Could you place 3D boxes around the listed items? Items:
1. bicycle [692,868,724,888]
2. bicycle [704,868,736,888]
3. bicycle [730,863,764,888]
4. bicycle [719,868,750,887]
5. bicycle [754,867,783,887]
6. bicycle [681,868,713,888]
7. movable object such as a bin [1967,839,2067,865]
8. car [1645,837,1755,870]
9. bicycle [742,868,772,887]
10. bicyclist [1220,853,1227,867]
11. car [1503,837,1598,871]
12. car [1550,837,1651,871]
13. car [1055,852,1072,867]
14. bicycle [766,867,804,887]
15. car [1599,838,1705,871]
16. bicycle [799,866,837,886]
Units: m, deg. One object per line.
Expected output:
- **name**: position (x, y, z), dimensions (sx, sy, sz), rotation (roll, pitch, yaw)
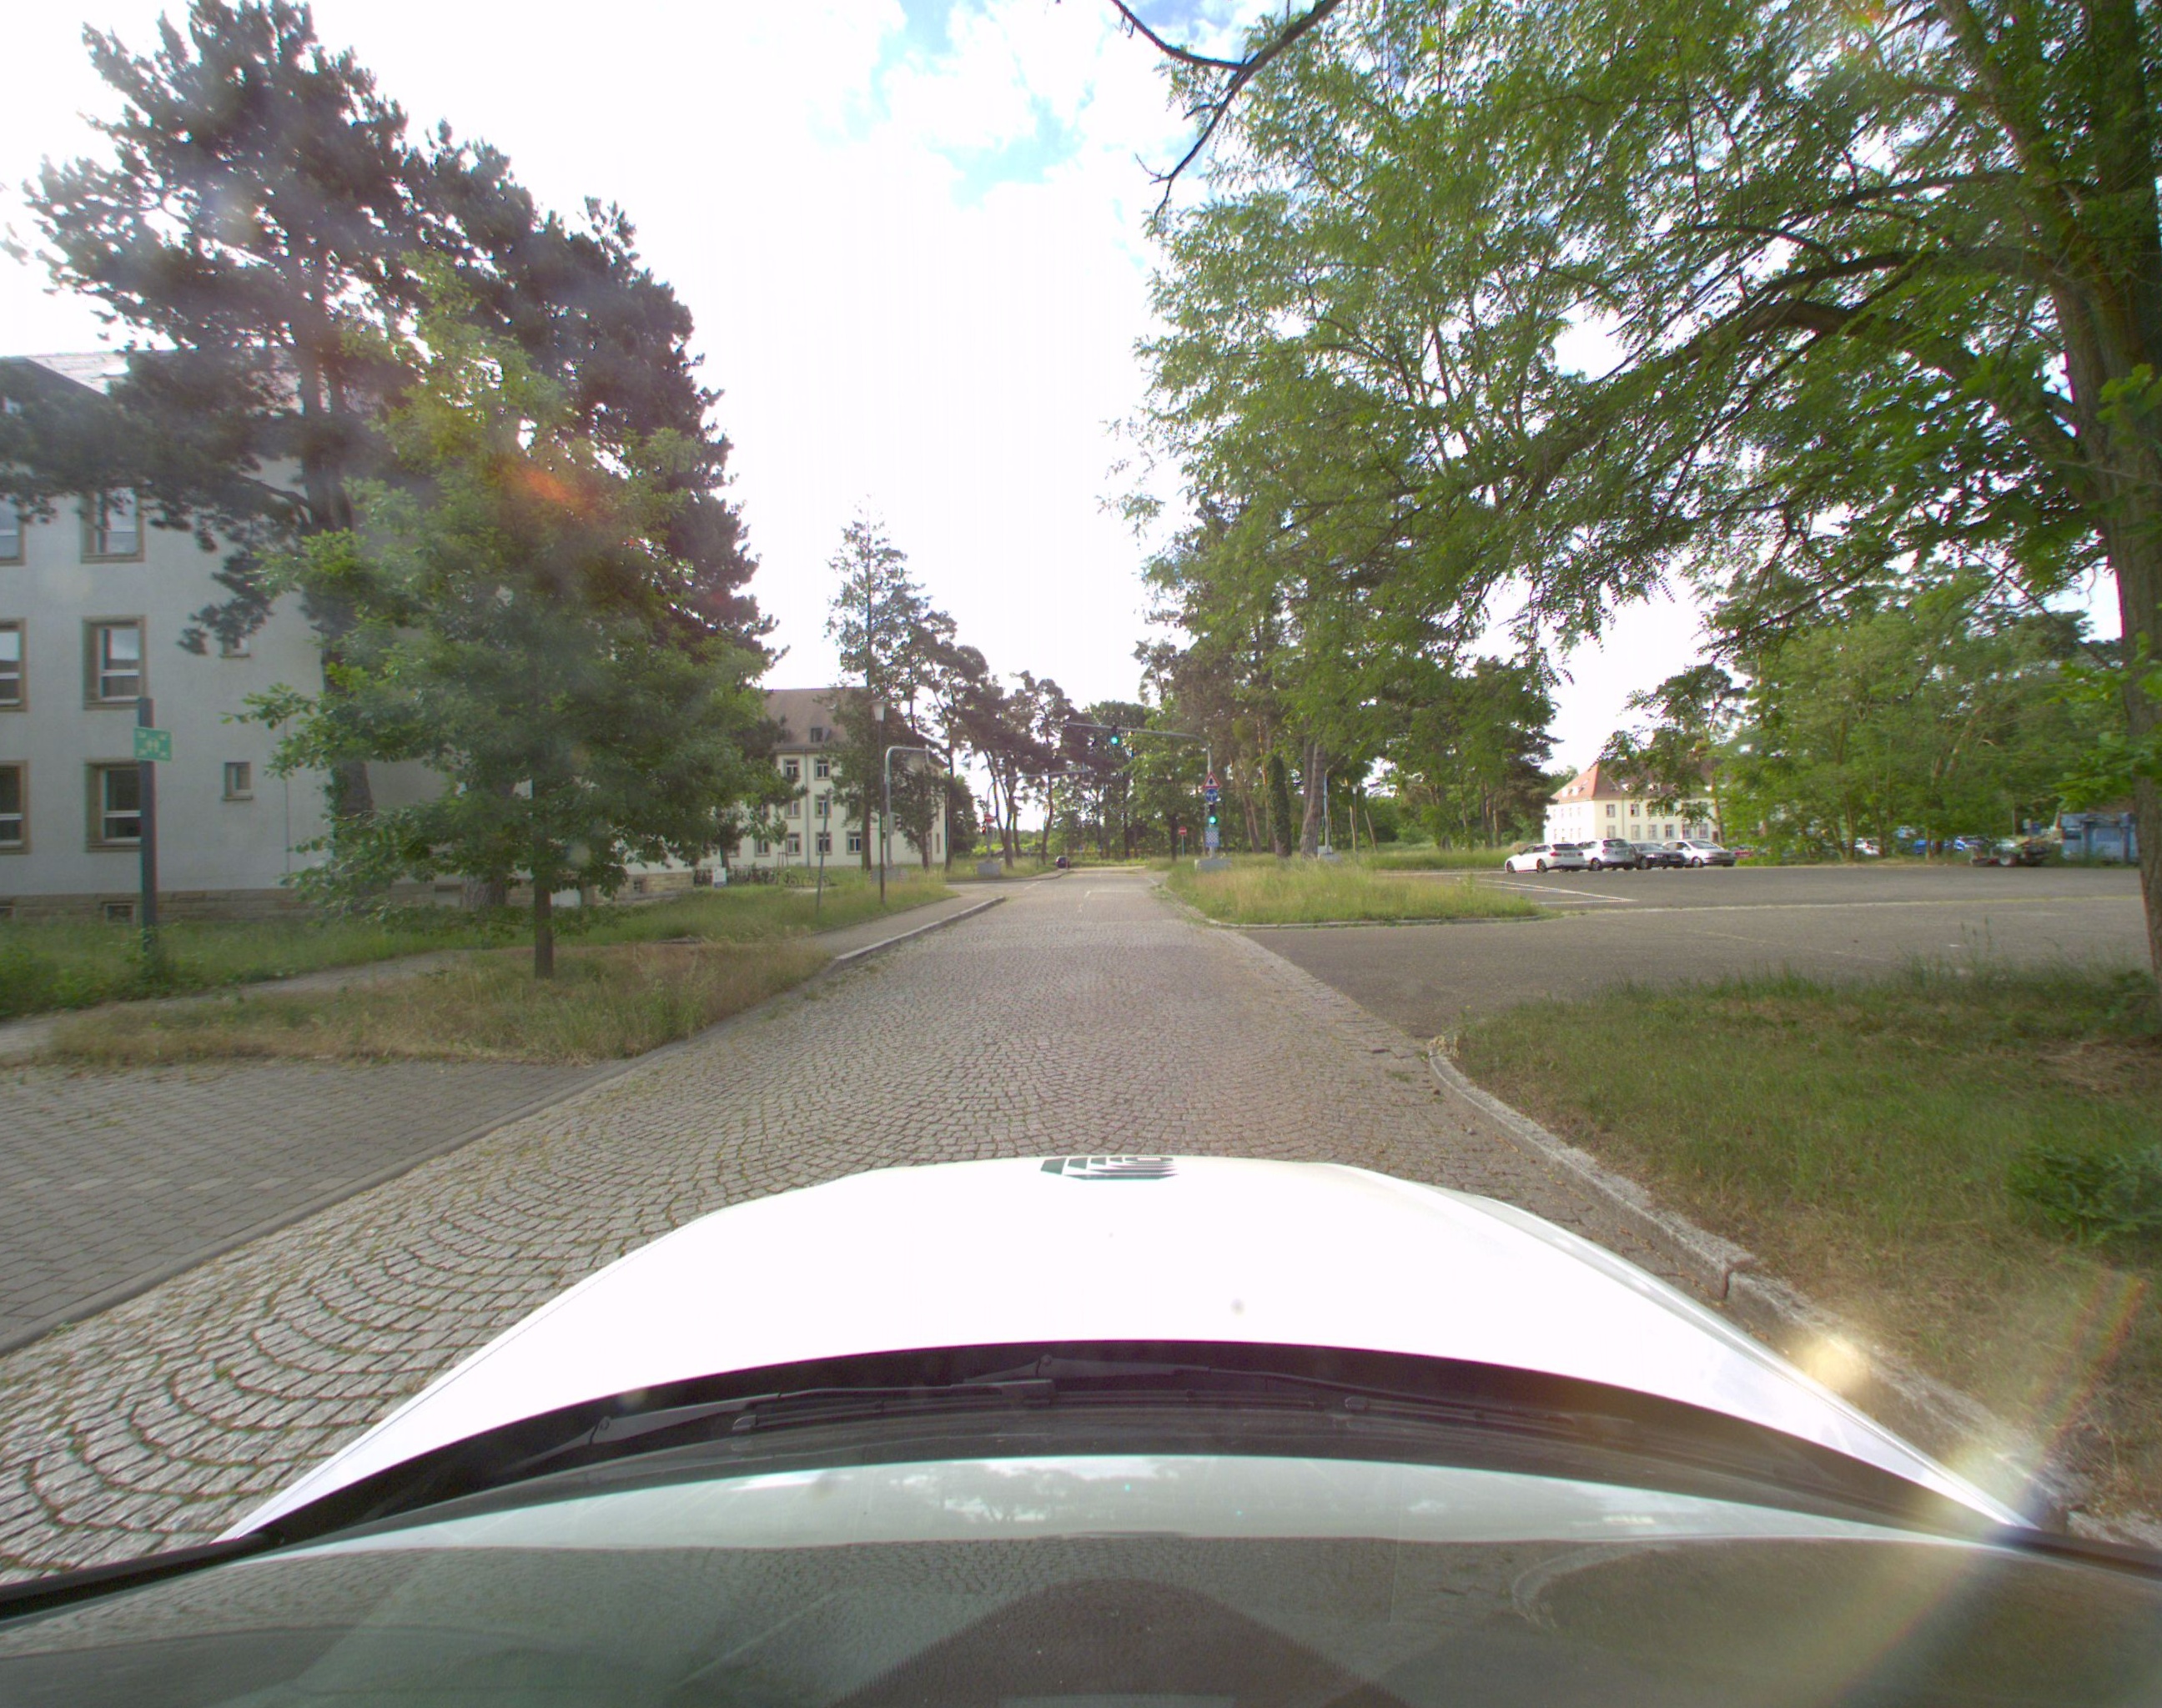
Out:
- **bicycle**: position (-21.990, 1.399, 48.098), dimensions (0.733, 1.076, 2.274), rotation (-2, 0, 2)
- **bicycle**: position (-21.261, 1.384, 48.010), dimensions (0.733, 1.076, 2.274), rotation (-2, 0, 2)
- **bicycle**: position (-19.808, 1.244, 48.363), dimensions (0.733, 1.385, 2.712), rotation (-2, 0, 2)
- **bicycle**: position (-20.601, 1.395, 48.489), dimensions (0.733, 1.076, 2.274), rotation (-2, 0, 2)
- **bicycle**: position (-18.432, 1.351, 48.057), dimensions (0.733, 1.076, 2.274), rotation (-2, 0, 2)
- **bicycle**: position (-22.695, 1.408, 48.190), dimensions (0.733, 1.076, 2.274), rotation (-2, 0, 2)
- **movable object such as a bin**: position (31.206, -0.066, 27.197), dimensions (1.179, 0.825, 1.957), rotation (-2, 0, 6)
- **car**: position (30.650, 0.040, 40.523), dimensions (1.988, 1.523, 4.421), rotation (0, -2, -2)
- **bicycle**: position (-19.074, 1.373, 47.990), dimensions (0.733, 1.076, 2.274), rotation (-2, 0, 2)
- **bicyclist**: position (17.722, 0.720, 101.119), dimensions (0.750, 1.671, 0.523), rotation (0, -1, -14)
- **car**: position (22.790, 0.059, 39.744), dimensions (1.988, 1.481, 4.421), rotation (-2, -1, -2)
- **car**: position (25.305, 0.058, 39.869), dimensions (1.988, 1.481, 4.421), rotation (-2, -1, -2)
- **car**: position (-2.204, 0.716, 103.861), dimensions (2.048, 1.846, 4.001), rotation (-2, 0, 1)
- **bicycle**: position (-16.990, 1.304, 46.774), dimensions (1.848, 1.076, 0.739), rotation (-2, 0, 3)
- **car**: position (27.974, 0.059, 40.104), dimensions (1.988, 1.481, 4.421), rotation (-2, -1, -2)
- **bicycle**: position (-15.107, 1.261, 46.771), dimensions (1.848, 1.076, 0.832), rotation (-2, 0, 3)
